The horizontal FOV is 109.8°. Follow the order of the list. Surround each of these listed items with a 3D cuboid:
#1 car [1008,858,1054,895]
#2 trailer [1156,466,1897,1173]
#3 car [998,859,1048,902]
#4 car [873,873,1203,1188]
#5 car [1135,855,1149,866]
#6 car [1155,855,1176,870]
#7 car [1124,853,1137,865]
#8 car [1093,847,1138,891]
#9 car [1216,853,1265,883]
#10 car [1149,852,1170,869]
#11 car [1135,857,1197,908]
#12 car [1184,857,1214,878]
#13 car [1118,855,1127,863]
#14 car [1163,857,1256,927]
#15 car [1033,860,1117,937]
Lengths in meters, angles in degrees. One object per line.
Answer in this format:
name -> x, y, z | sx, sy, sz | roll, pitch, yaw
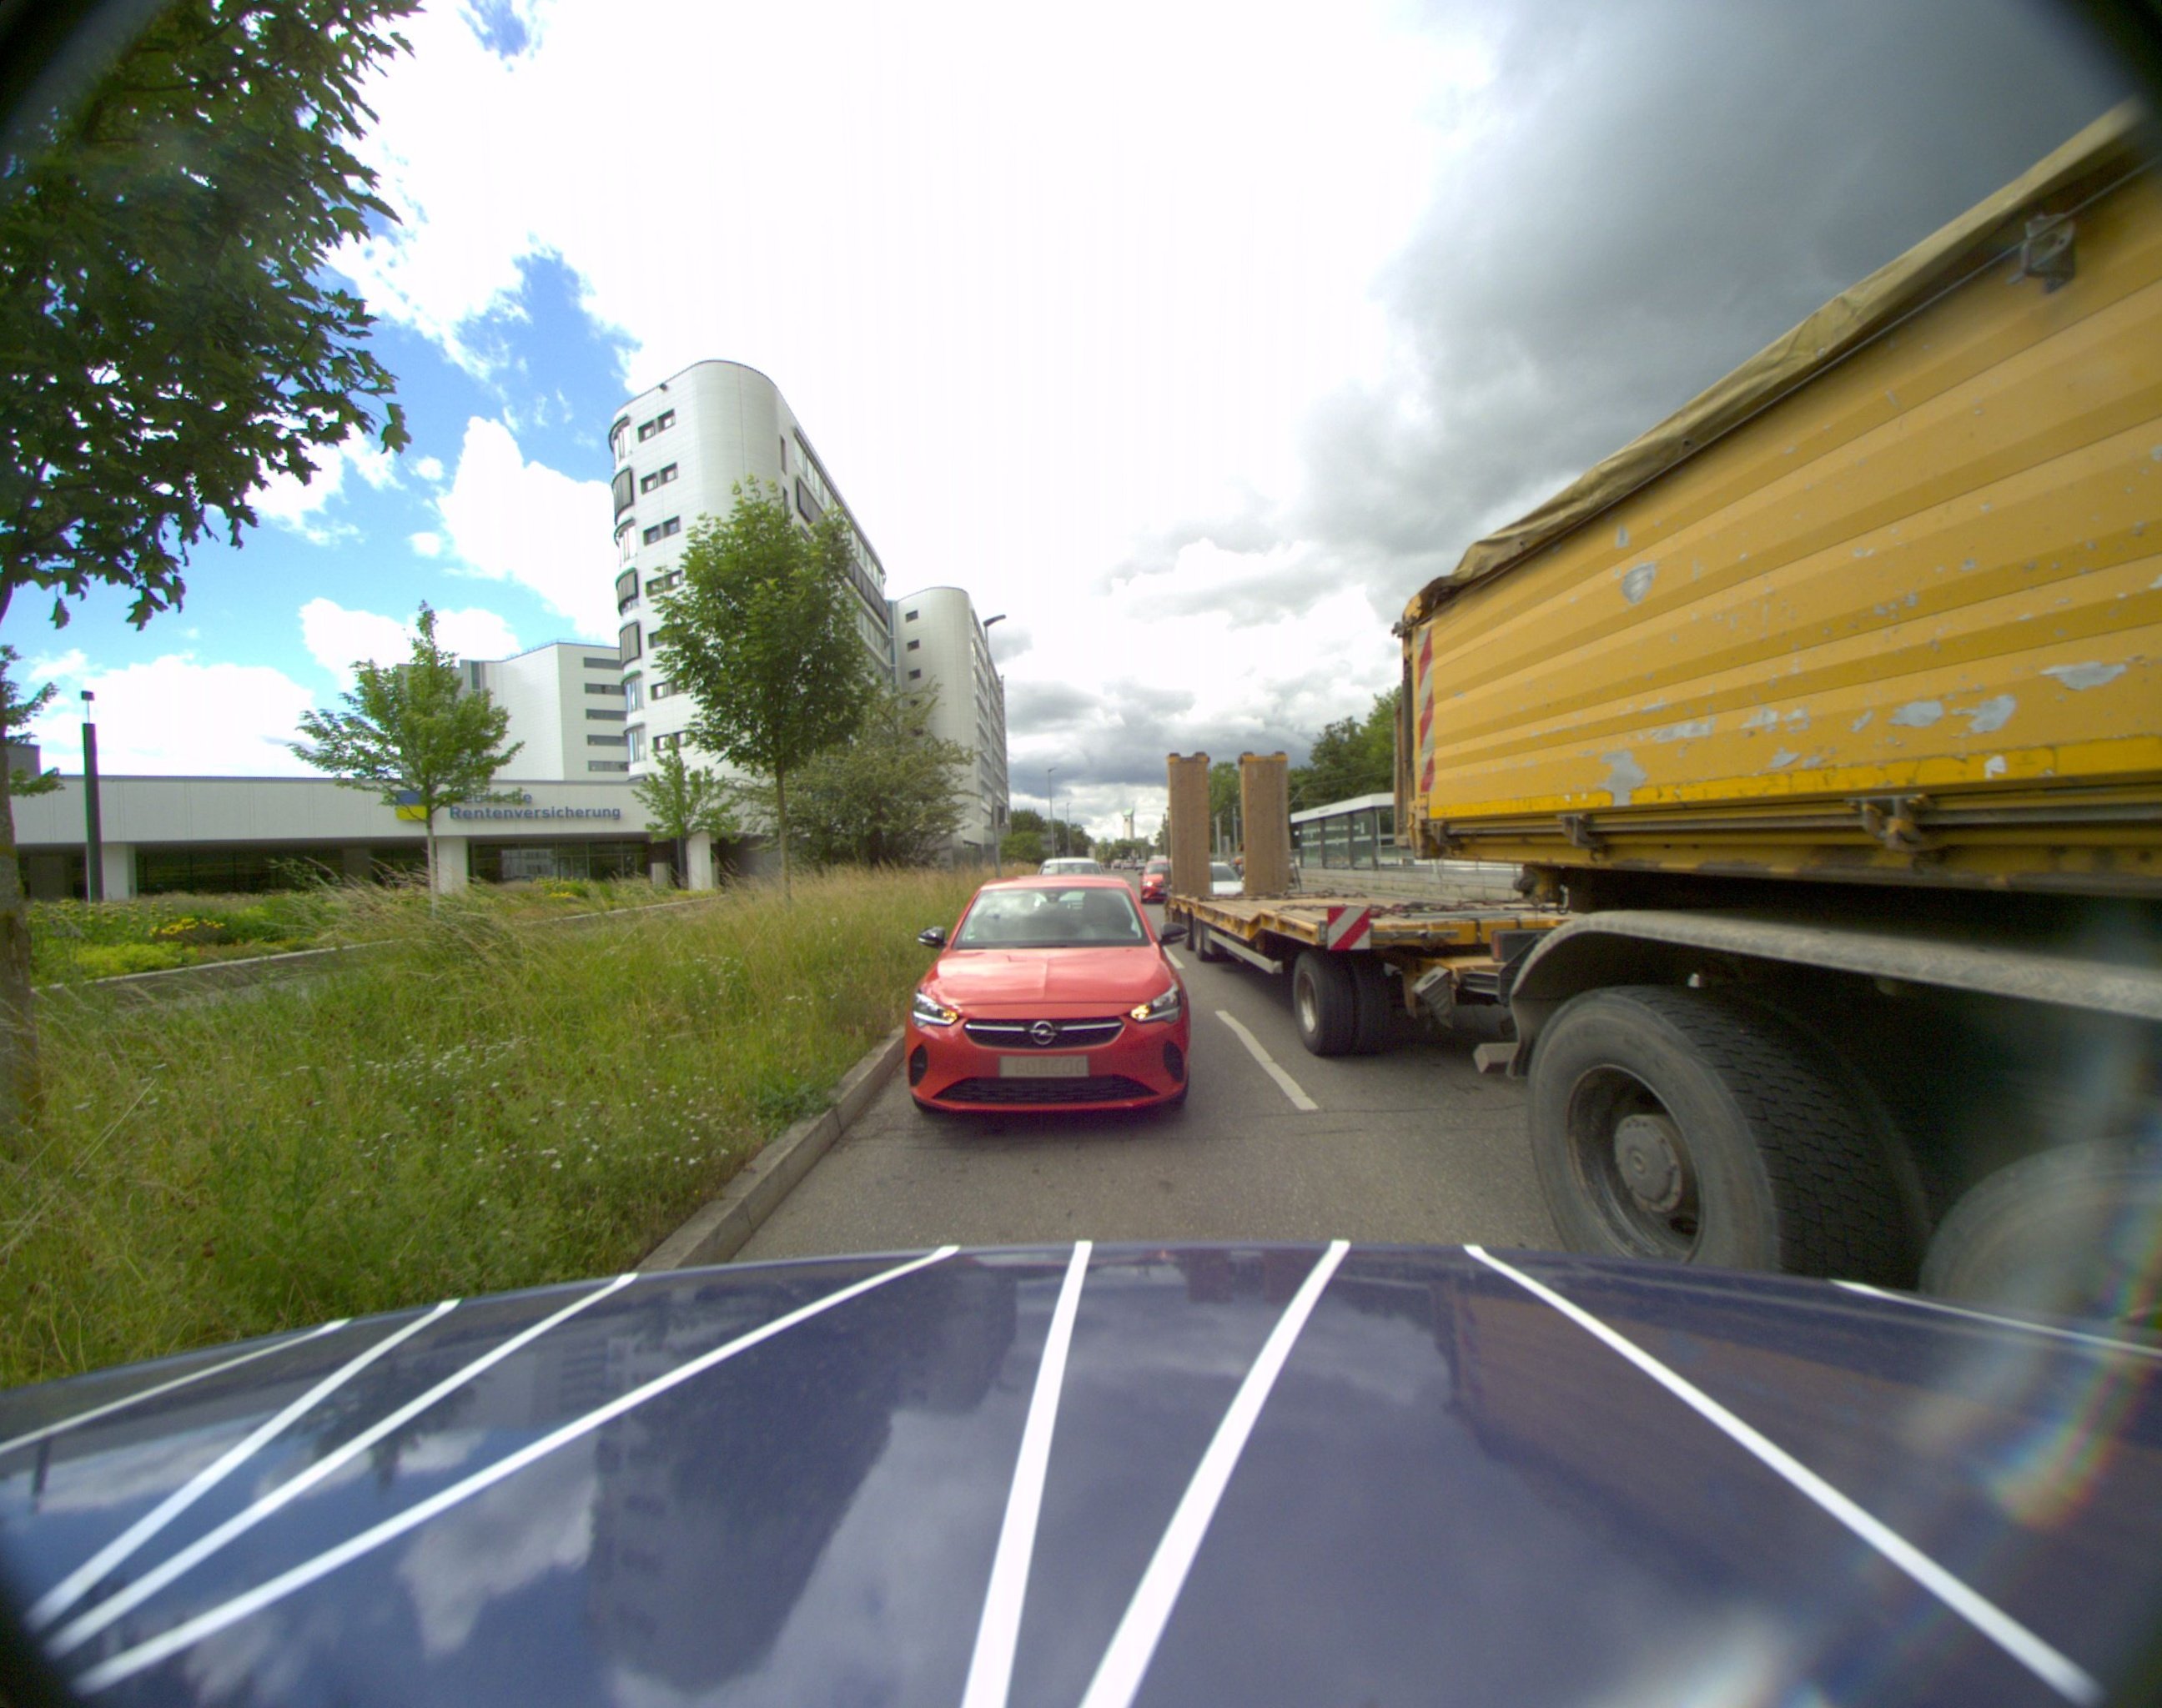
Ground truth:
car -> -2.339, 1.024, 36.357 | 1.850, 1.565, 4.623 | -2, 0, 0
trailer -> 2.814, -0.164, 9.327 | 2.713, 3.501, 10.914 | -2, 0, 1
car -> -2.285, 1.005, 30.654 | 1.738, 1.565, 3.445 | -2, 0, 0
car -> -0.199, 0.988, 6.016 | 1.692, 1.471, 3.999 | -2, 1, 1
car -> 8.677, 0.957, 107.735 | 1.644, 1.489, 3.554 | -2, 0, 1
car -> 8.290, 0.817, 74.531 | 1.705, 1.449, 3.566 | -2, 0, 1
car -> 8.495, 0.786, 131.810 | 1.998, 2.002, 4.000 | -2, 0, 1
car -> 1.608, 0.701, 37.084 | 1.998, 2.002, 4.000 | -2, 0, 1
car -> 8.422, 0.727, 40.434 | 1.781, 1.460, 4.044 | -2, 0, 1
car -> 8.796, 0.717, 85.389 | 1.887, 1.761, 4.864 | -2, 0, 1
car -> 2.848, 0.916, 26.160 | 1.692, 1.471, 3.999 | -2, 1, 1
car -> 8.460, 0.944, 54.811 | 1.766, 1.432, 4.279 | -2, 0, 4
car -> 8.932, 1.081, 163.234 | 1.770, 1.489, 3.554 | -2, 0, 1
car -> 3.139, 0.872, 19.252 | 1.692, 1.471, 3.999 | -2, 1, 1
car -> -0.128, 0.956, 17.820 | 1.738, 1.565, 3.445 | -2, 0, 0
